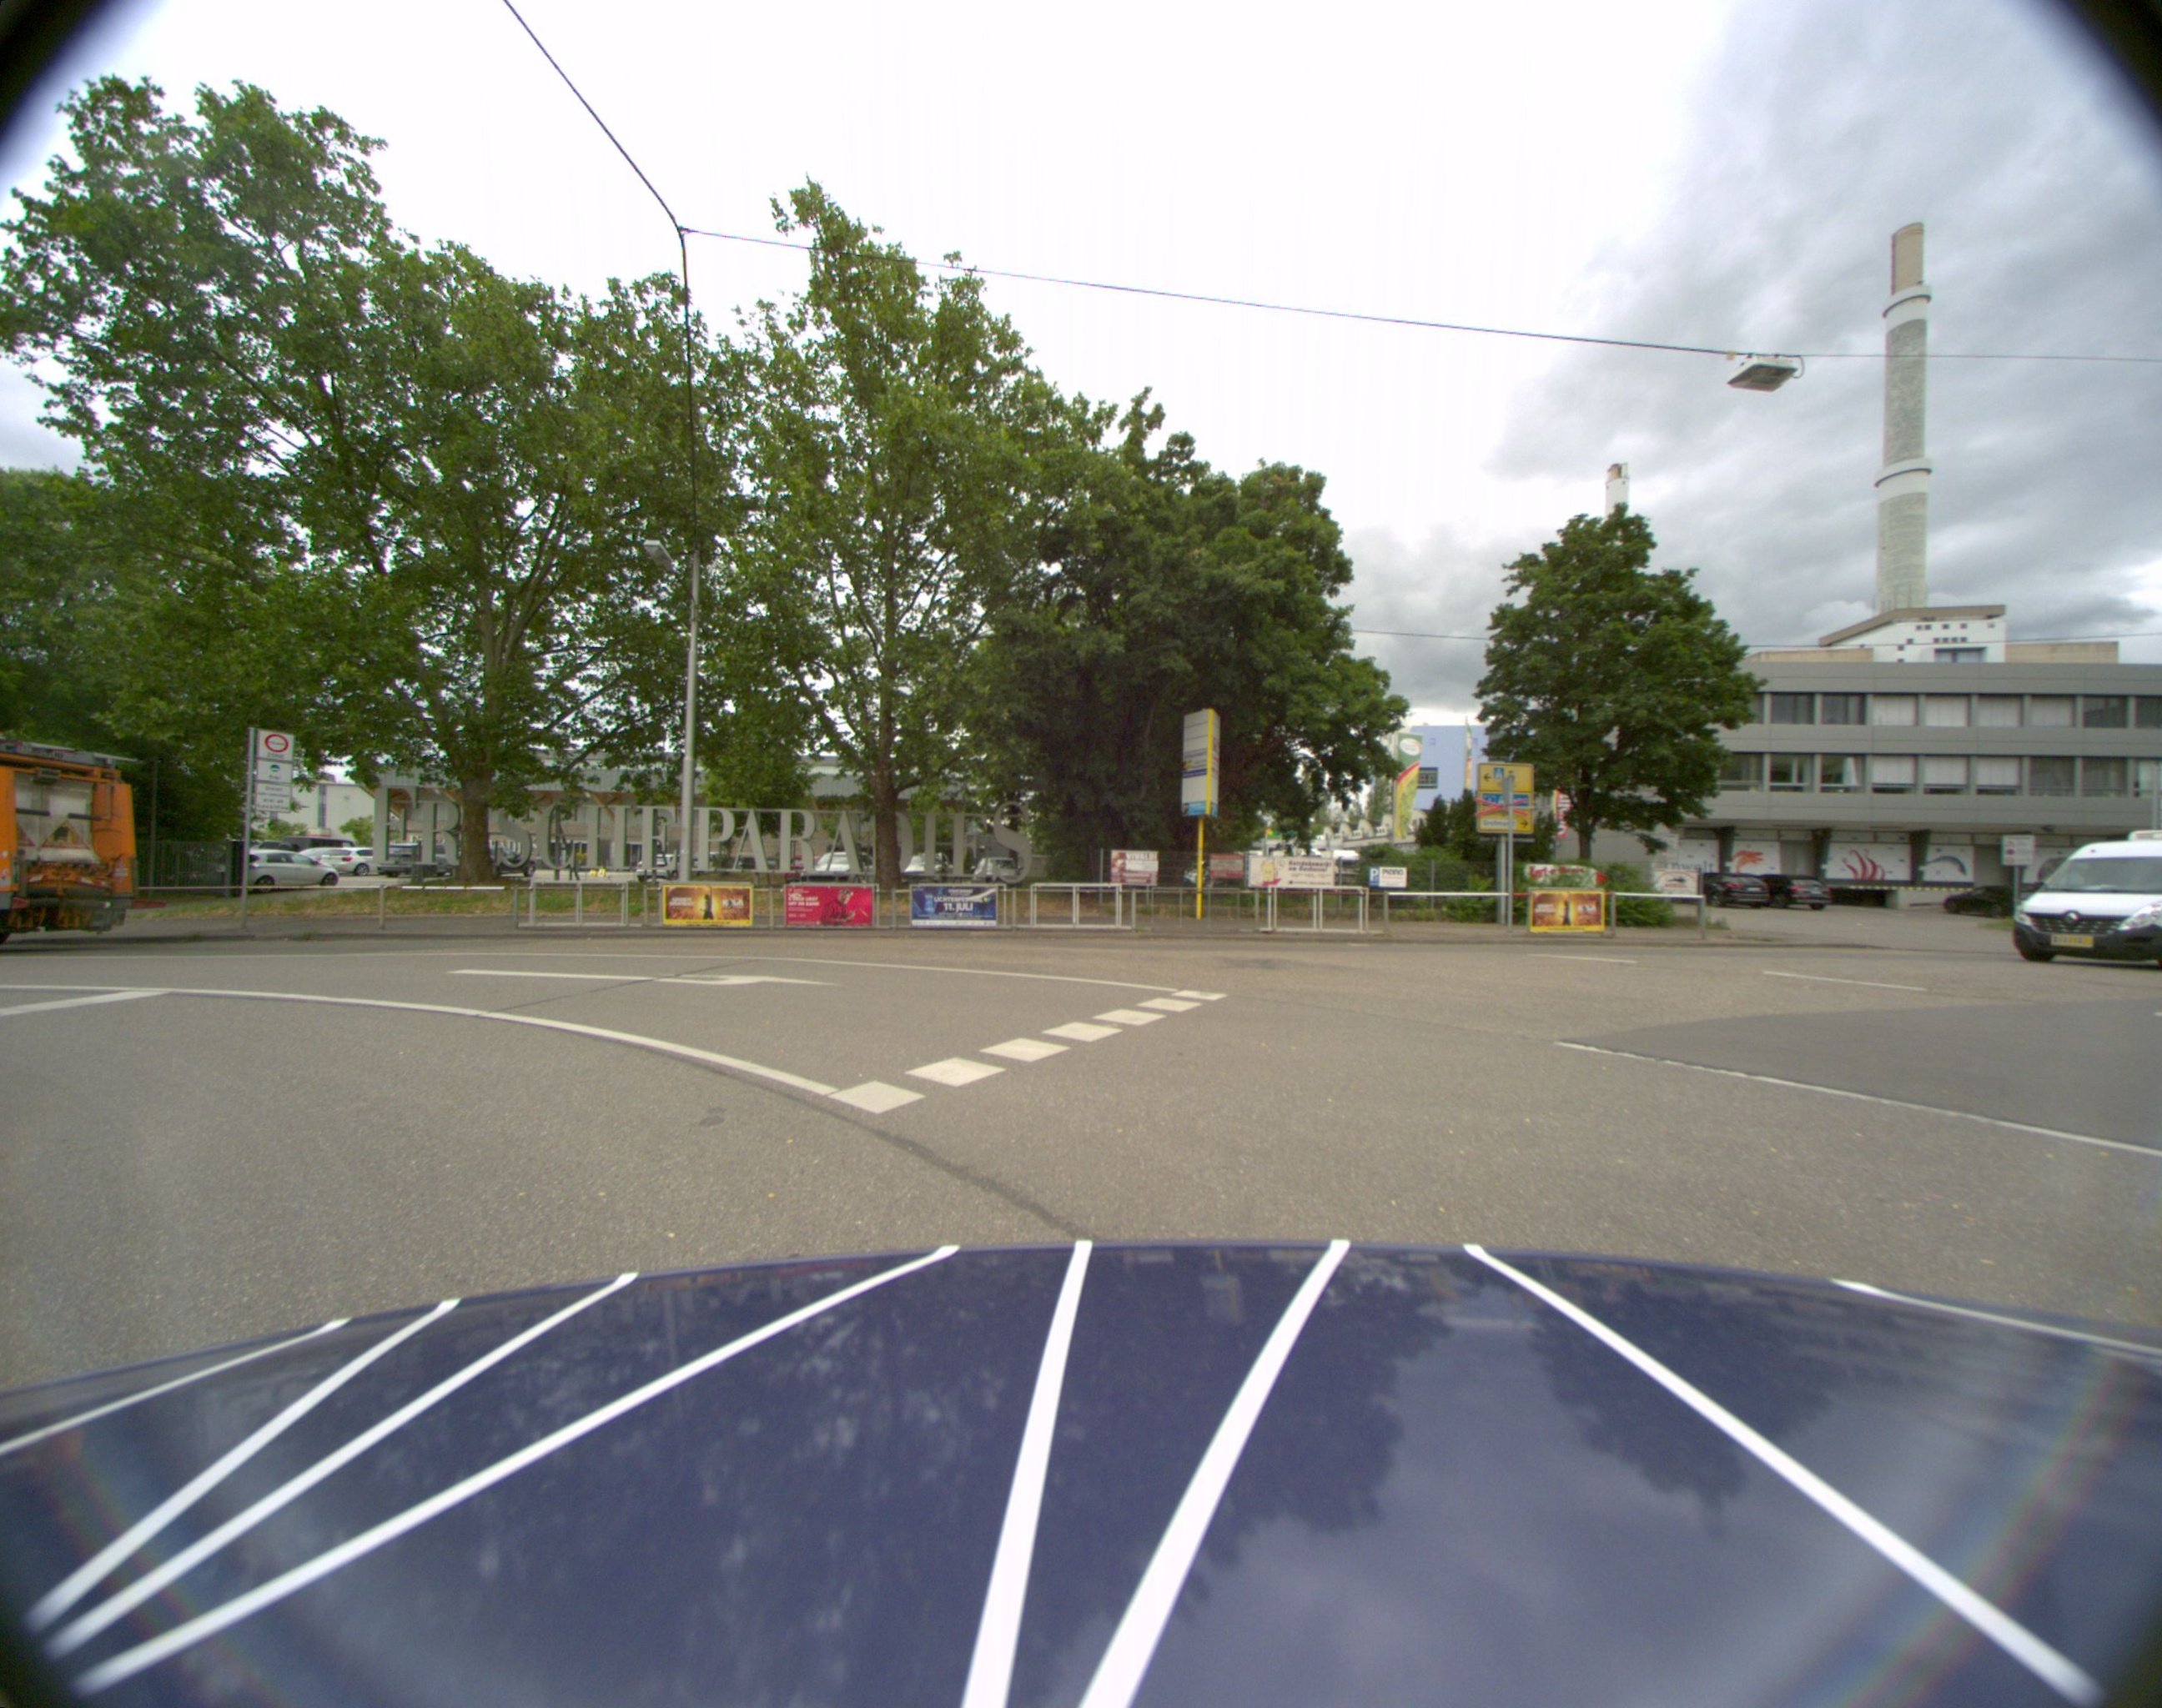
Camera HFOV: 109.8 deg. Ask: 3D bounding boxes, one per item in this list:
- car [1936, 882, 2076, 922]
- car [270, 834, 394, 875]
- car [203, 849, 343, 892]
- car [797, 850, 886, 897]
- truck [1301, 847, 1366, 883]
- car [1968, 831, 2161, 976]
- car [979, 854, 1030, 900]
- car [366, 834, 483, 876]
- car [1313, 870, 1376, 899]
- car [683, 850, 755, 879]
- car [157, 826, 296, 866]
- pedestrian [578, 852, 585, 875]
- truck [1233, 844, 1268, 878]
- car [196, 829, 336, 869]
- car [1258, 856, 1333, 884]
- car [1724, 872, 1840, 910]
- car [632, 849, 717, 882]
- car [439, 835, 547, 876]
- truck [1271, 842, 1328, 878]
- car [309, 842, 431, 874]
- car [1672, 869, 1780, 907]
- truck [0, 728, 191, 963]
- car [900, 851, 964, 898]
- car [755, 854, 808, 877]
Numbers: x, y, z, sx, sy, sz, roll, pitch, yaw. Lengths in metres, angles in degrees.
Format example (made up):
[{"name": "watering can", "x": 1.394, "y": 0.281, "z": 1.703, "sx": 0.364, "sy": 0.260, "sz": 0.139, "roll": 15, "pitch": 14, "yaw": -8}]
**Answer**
[{"name": "car", "x": 42.496, "y": 2.139, "z": 35.097, "sx": 2.045, "sy": 1.437, "sz": 4.836, "roll": 1, "pitch": 1, "yaw": 23}, {"name": "car", "x": -39.695, "y": 0.057, "z": 40.475, "sx": 1.999, "sy": 2.001, "sz": 4.641, "roll": 1, "pitch": -1, "yaw": -1}, {"name": "car", "x": -30.568, "y": 0.624, "z": 28.905, "sx": 1.481, "sy": 1.495, "sz": 3.729, "roll": 1, "pitch": -1, "yaw": -4}, {"name": "car", "x": -8.975, "y": 0.745, "z": 28.895, "sx": 1.883, "sy": 1.603, "sz": 4.527, "roll": 1, "pitch": -2, "yaw": 1}, {"name": "truck", "x": 29.875, "y": 1.328, "z": 90.991, "sx": 2.849, "sy": 3.909, "sz": 15.733, "roll": 2, "pitch": -1, "yaw": 2}, {"name": "car", "x": 20.904, "y": 0.931, "z": 14.446, "sx": 6.101, "sy": 2.444, "sz": 2.388, "roll": 1, "pitch": -1, "yaw": -9}, {"name": "car", "x": -2.831, "y": 0.867, "z": 28.754, "sx": 1.591, "sy": 1.603, "sz": 4.001, "roll": 1, "pitch": -2, "yaw": -1}, {"name": "car", "x": -33.642, "y": 0.110, "z": 39.157, "sx": 1.999, "sy": 2.001, "sz": 4.641, "roll": 1, "pitch": -1, "yaw": -1}, {"name": "car", "x": 12.261, "y": 1.380, "z": 35.618, "sx": 1.708, "sy": 1.241, "sz": 3.702, "roll": 2, "pitch": -1, "yaw": 1}, {"name": "car", "x": -21.102, "y": 0.628, "z": 44.480, "sx": 1.999, "sy": 1.552, "sz": 4.641, "roll": 1, "pitch": -1, "yaw": -1}, {"name": "car", "x": -45.950, "y": -0.359, "z": 41.058, "sx": 1.999, "sy": 2.001, "sz": 4.824, "roll": 1, "pitch": -1, "yaw": -1}, {"name": "pedestrian", "x": -37.820, "y": 0.701, "z": 57.550, "sx": 0.342, "sy": 1.754, "sz": 0.437, "roll": 2, "pitch": -2, "yaw": -23}, {"name": "truck", "x": 22.172, "y": 0.933, "z": 100.020, "sx": 2.996, "sy": 4.141, "sz": 9.192, "roll": 1, "pitch": -1, "yaw": 4}, {"name": "car", "x": -43.499, "y": -0.193, "z": 40.793, "sx": 1.999, "sy": 1.986, "sz": 5.103, "roll": 1, "pitch": -1, "yaw": -1}, {"name": "car", "x": 22.348, "y": 1.636, "z": 79.485, "sx": 7.146, "sy": 2.716, "sz": 2.245, "roll": 2, "pitch": -1, "yaw": 4}, {"name": "car", "x": 34.426, "y": 1.765, "z": 37.484, "sx": 1.837, "sy": 1.608, "sz": 4.425, "roll": 2, "pitch": 0, "yaw": 5}, {"name": "car", "x": -21.119, "y": 0.605, "z": 39.719, "sx": 1.999, "sy": 1.552, "sz": 4.641, "roll": 1, "pitch": -1, "yaw": -1}, {"name": "car", "x": -30.346, "y": 0.113, "z": 39.441, "sx": 1.999, "sy": 2.001, "sz": 4.641, "roll": 1, "pitch": -1, "yaw": -1}, {"name": "truck", "x": 25.833, "y": 0.786, "z": 90.827, "sx": 2.849, "sy": 3.909, "sz": 15.734, "roll": 2, "pitch": -1, "yaw": 2}, {"name": "car", "x": -36.922, "y": 0.246, "z": 39.658, "sx": 1.999, "sy": 1.549, "sz": 4.641, "roll": 1, "pitch": -1, "yaw": -1}, {"name": "car", "x": 31.668, "y": 1.631, "z": 37.504, "sx": 1.836, "sy": 1.608, "sz": 4.467, "roll": 2, "pitch": 0, "yaw": 6}, {"name": "truck", "x": -21.329, "y": -0.091, "z": 12.225, "sx": 10.415, "sy": 3.505, "sz": 2.798, "roll": 0, "pitch": -1, "yaw": -2}, {"name": "car", "x": -5.536, "y": 0.775, "z": 28.700, "sx": 1.591, "sy": 1.603, "sz": 4.318, "roll": 1, "pitch": -2, "yaw": -1}, {"name": "car", "x": -21.779, "y": 0.871, "z": 55.445, "sx": 1.999, "sy": 1.552, "sz": 4.641, "roll": 1, "pitch": -1, "yaw": -1}]
